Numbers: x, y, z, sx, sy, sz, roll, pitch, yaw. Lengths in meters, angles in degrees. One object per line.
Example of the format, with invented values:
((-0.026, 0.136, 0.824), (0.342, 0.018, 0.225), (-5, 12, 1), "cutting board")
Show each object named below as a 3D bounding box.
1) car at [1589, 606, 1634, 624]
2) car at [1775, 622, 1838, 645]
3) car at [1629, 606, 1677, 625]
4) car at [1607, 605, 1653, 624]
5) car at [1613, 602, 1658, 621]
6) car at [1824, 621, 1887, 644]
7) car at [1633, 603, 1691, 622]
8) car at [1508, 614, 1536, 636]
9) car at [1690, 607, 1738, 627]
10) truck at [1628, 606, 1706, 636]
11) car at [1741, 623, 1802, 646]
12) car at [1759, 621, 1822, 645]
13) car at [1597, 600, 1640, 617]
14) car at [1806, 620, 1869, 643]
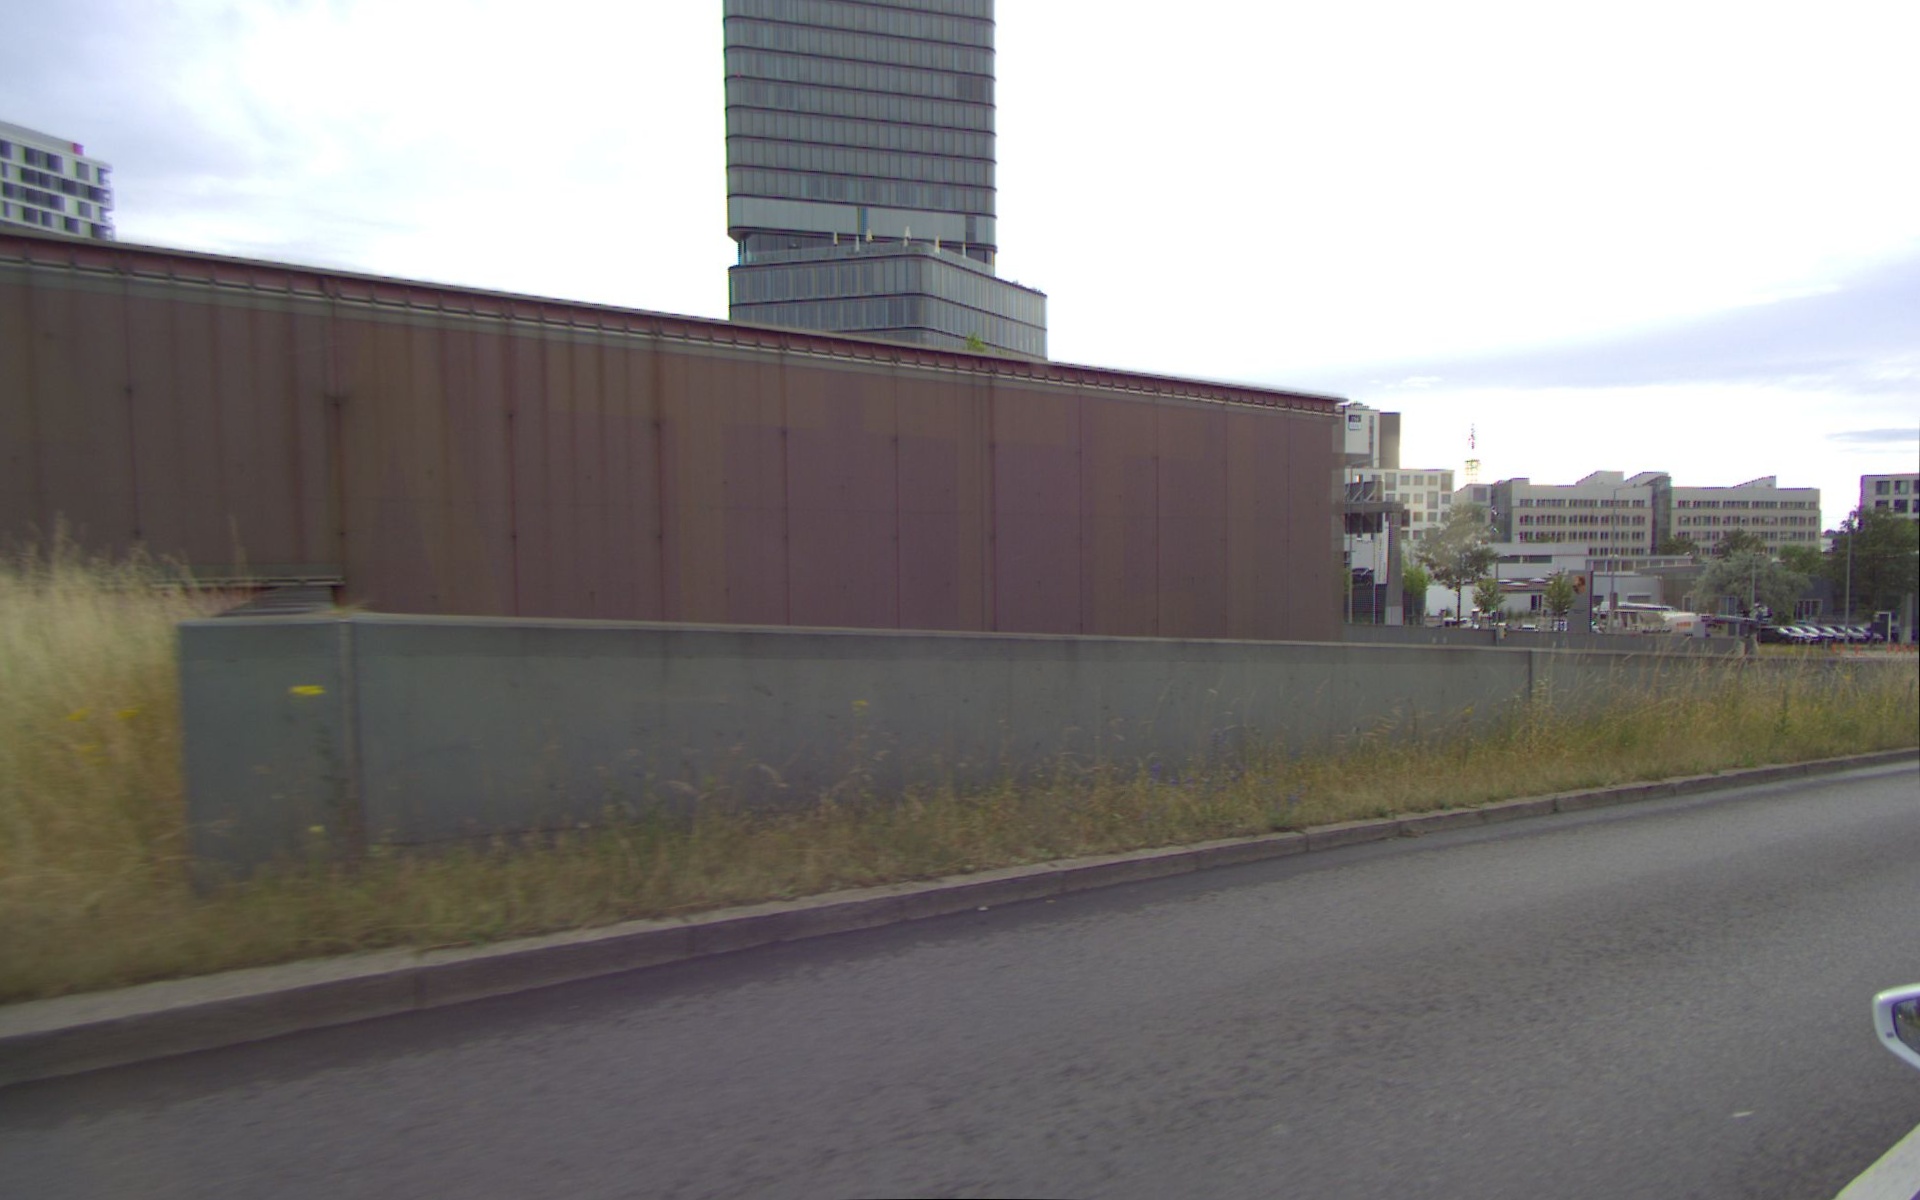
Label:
((70.059, 1.635, 108.078), (3.933, 1.707, 1.916), (-1, 5, -15), "car")
((77.930, 3.066, 92.506), (1.893, 1.707, 3.981), (-1, 5, -19), "car")
((71.177, 1.608, 103.139), (3.933, 1.707, 1.916), (-1, 5, -15), "car")
((70.667, 1.511, 105.984), (3.933, 1.707, 1.916), (-1, 5, -15), "car")
((74.989, 1.273, 111.478), (3.933, 1.907, 1.993), (-1, 5, -15), "car")
((84.578, 3.042, 94.945), (1.893, 1.707, 3.981), (-1, 5, -19), "car")
((76.434, 1.362, 109.397), (5.443, 1.907, 1.993), (1, 4, -15), "car")
((61.232, 2.681, 109.496), (1.961, 1.907, 3.998), (2, 5, 21), "car")
((78.148, 1.755, 104.124), (3.933, 1.907, 1.901), (-1, 5, -15), "car")
((69.939, 2.080, 99.341), (7.294, 2.563, 2.363), (-1, 5, -19), "truck")
((73.272, 3.115, 90.770), (1.673, 1.622, 3.995), (-1, 5, -19), "car")
((75.753, 3.011, 91.697), (1.893, 1.707, 3.981), (-1, 5, -19), "car")
((74.881, 1.000, 114.169), (3.933, 1.707, 1.916), (-1, 5, -15), "car")
((82.268, 2.936, 94.247), (1.893, 1.707, 3.981), (-1, 5, -19), "car")
